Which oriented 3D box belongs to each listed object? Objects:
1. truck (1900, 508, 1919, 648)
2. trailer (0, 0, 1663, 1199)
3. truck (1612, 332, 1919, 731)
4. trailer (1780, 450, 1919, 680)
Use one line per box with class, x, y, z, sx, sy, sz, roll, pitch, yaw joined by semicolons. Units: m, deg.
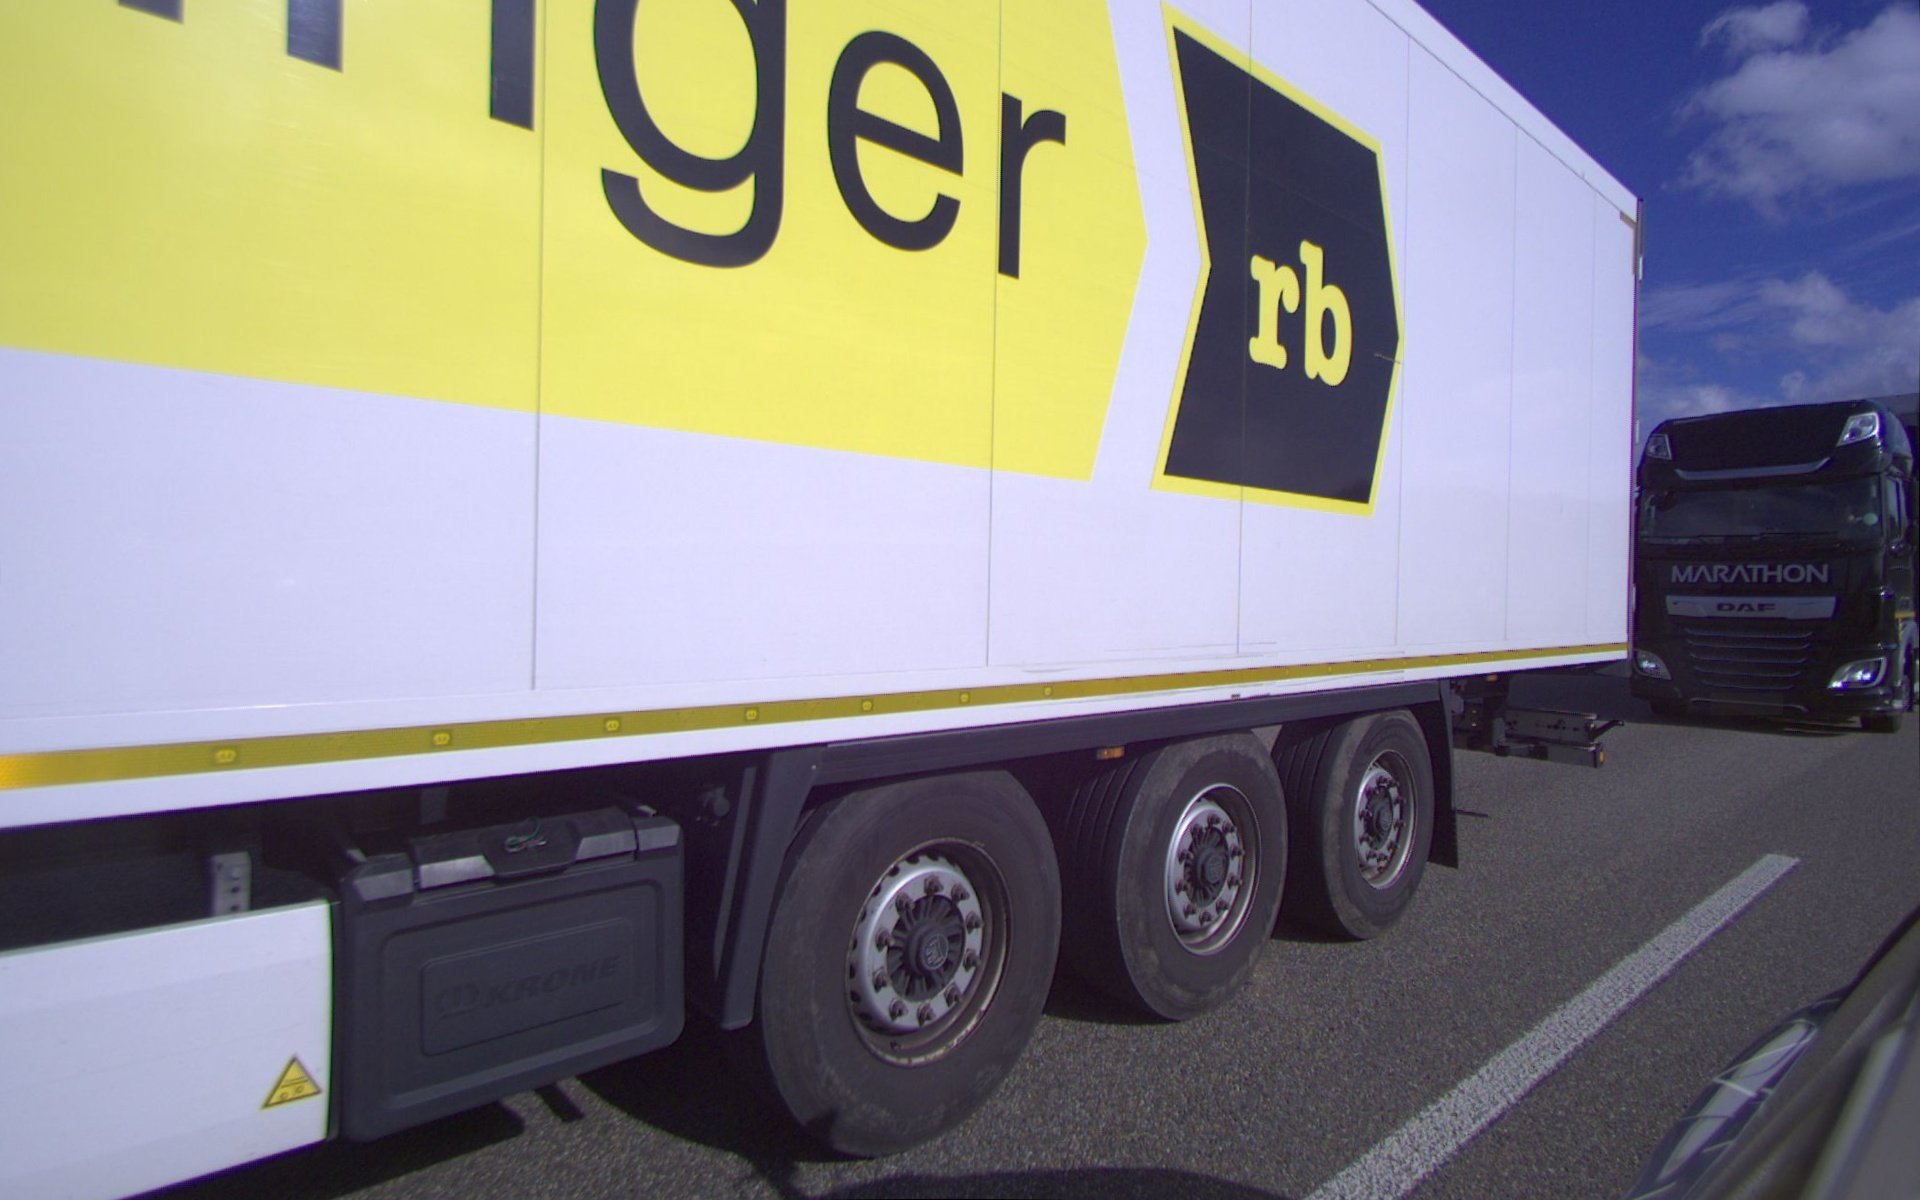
truck;32.483;-0.670;32.409;9.496;4.121;2.415;0;-2;-41
trailer;-1.434;-0.633;3.070;12.841;3.988;2.797;0;0;-41
truck;12.677;-0.693;14.700;10.027;4.090;2.744;0;-2;-42
trailer;19.613;-0.571;20.910;8.560;4.012;2.719;1;-2;-42
